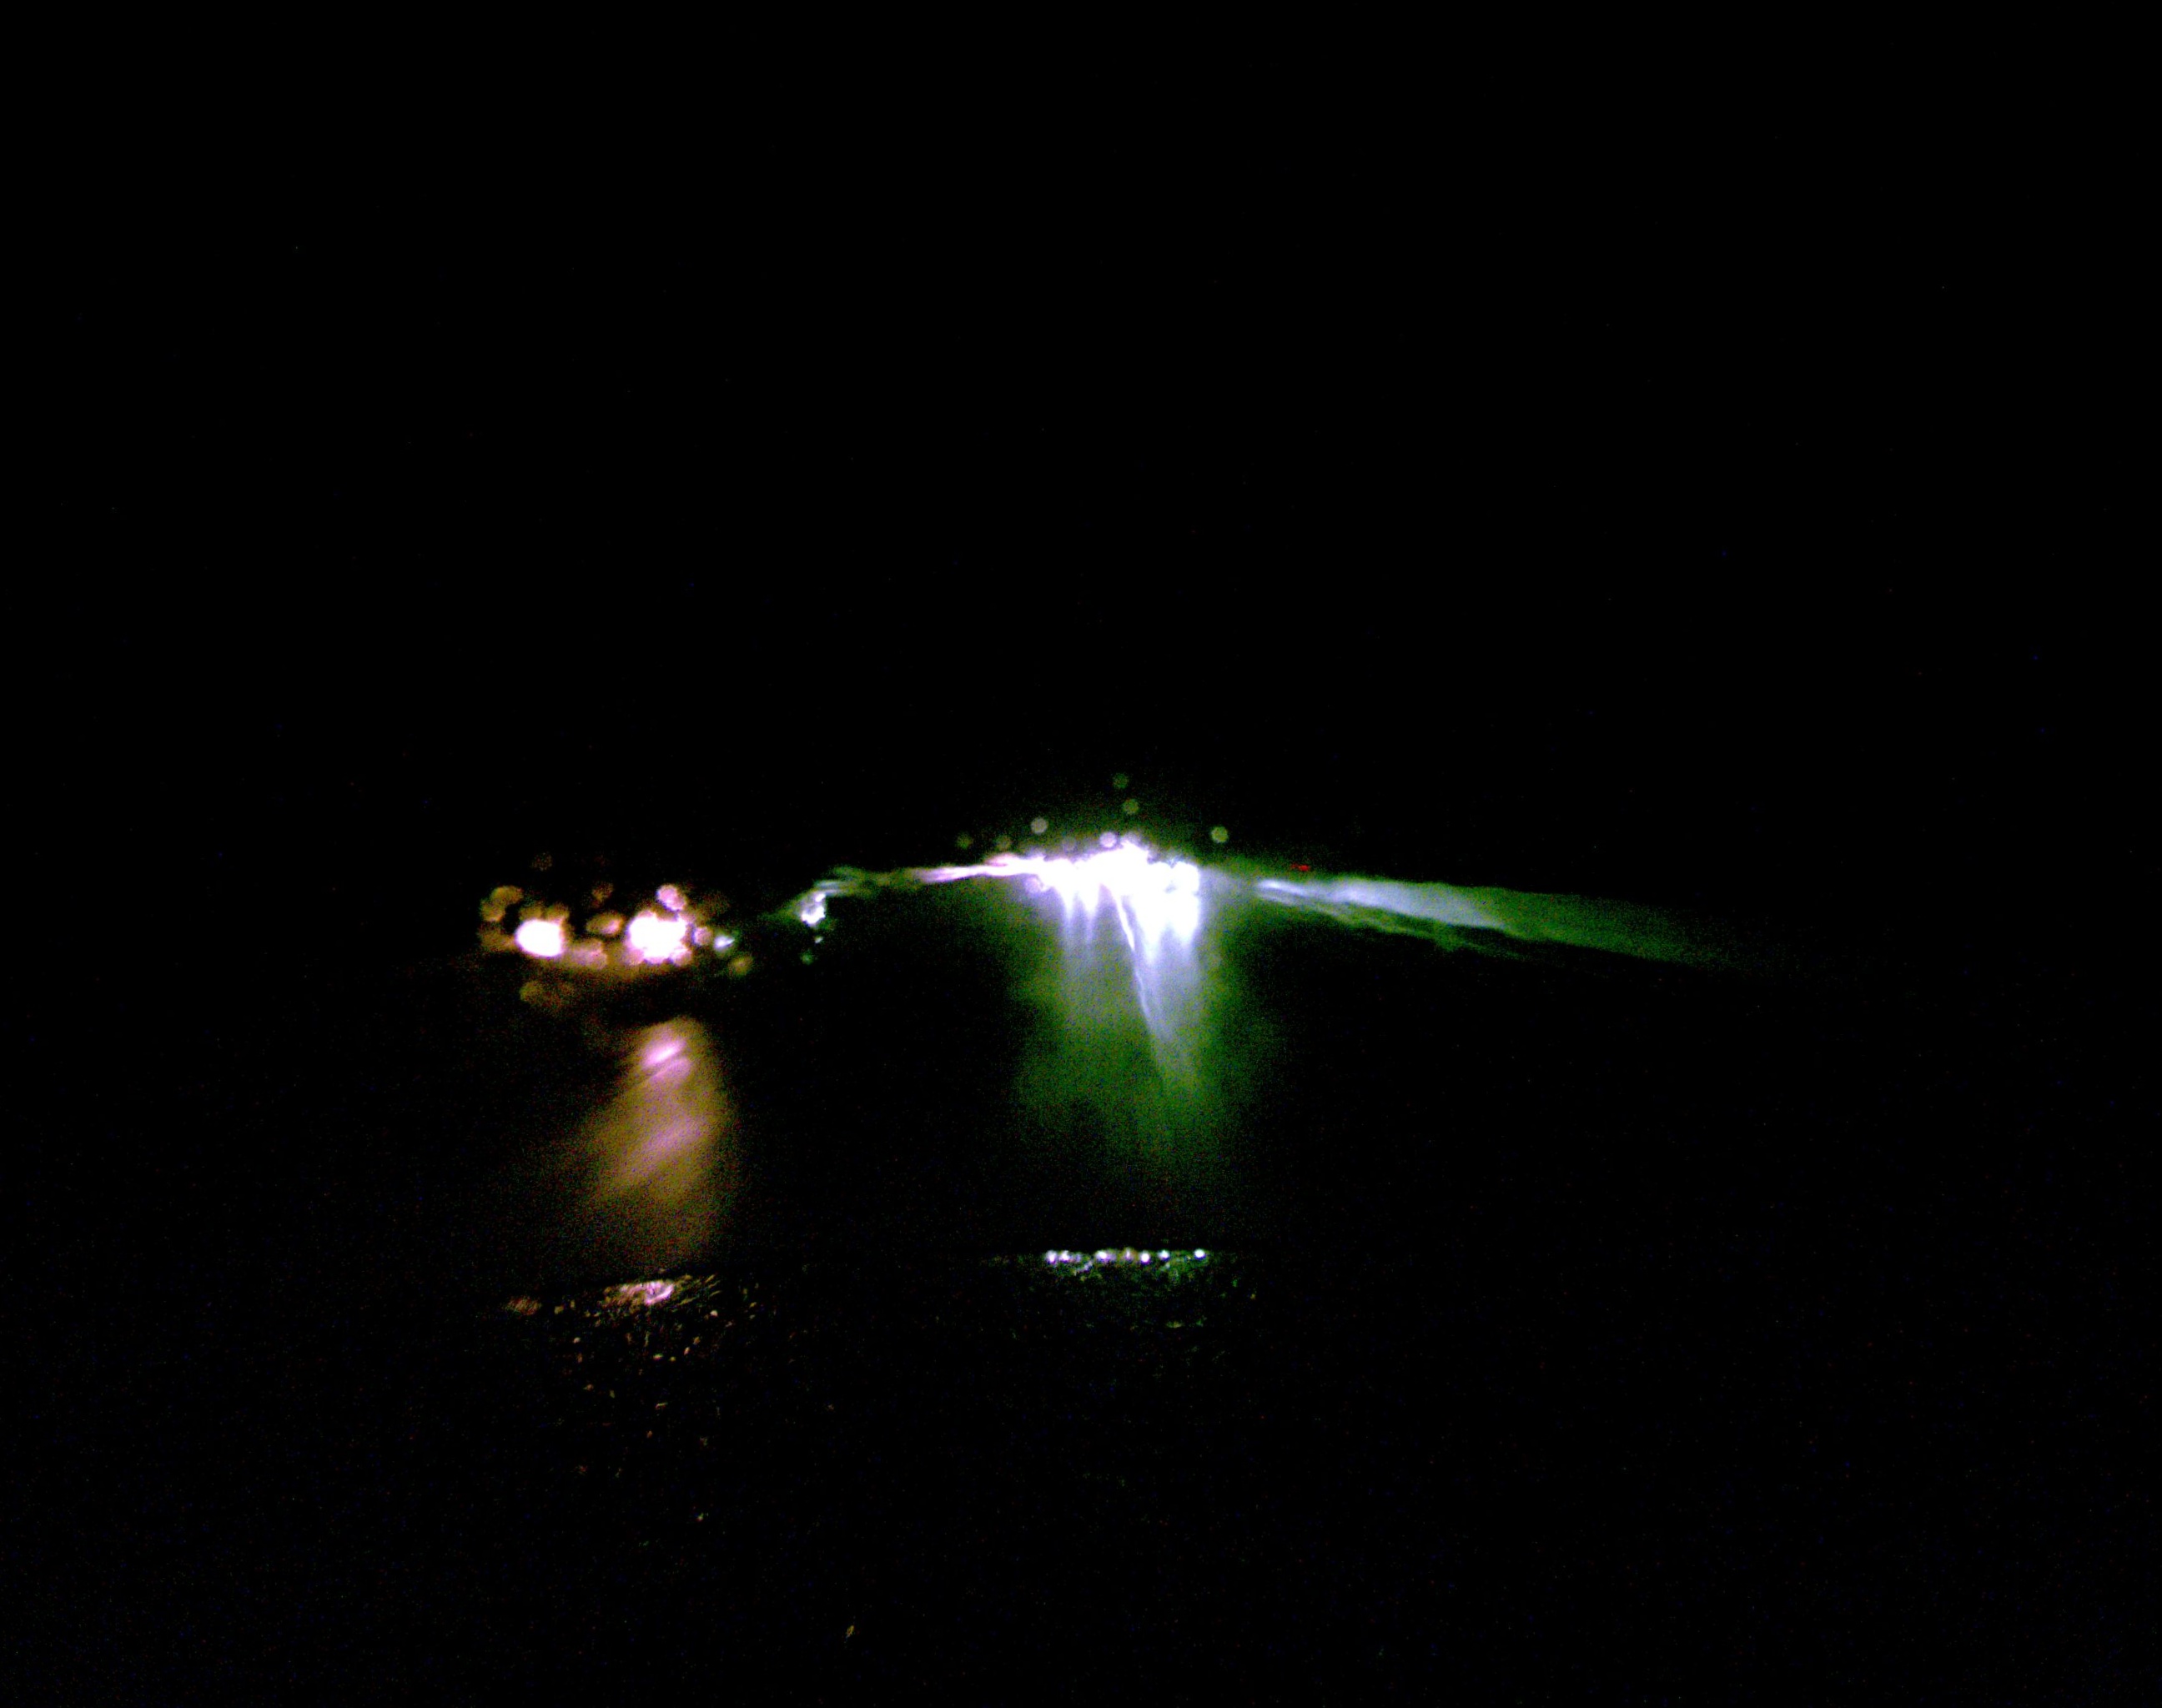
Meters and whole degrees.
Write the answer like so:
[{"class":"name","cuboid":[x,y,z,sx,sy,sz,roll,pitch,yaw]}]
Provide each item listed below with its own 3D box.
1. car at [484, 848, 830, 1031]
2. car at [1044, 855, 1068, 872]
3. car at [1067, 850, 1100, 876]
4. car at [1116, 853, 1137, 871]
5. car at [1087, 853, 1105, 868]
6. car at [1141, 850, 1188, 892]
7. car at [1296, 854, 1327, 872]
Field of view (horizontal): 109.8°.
[{"class":"car","cuboid":[-5.192,0.899,10.258,1.831,1.835,4.699,-3,0,2]},{"class":"car","cuboid":[-2.595,1.003,79.629,1.882,1.654,4.002,-3,0,6]},{"class":"car","cuboid":[0.209,0.585,53.336,1.882,1.654,4.002,-3,0,6]},{"class":"car","cuboid":[4.529,0.783,74.563,1.882,1.654,4.001,-3,0,5]},{"class":"car","cuboid":[1.790,0.725,89.230,1.882,1.654,4.001,-3,0,5]},{"class":"car","cuboid":[3.640,0.681,33.304,1.882,1.654,4.002,-3,0,6]},{"class":"car","cuboid":[21.933,0.827,72.460,1.745,1.654,4.000,-3,0,1]}]
